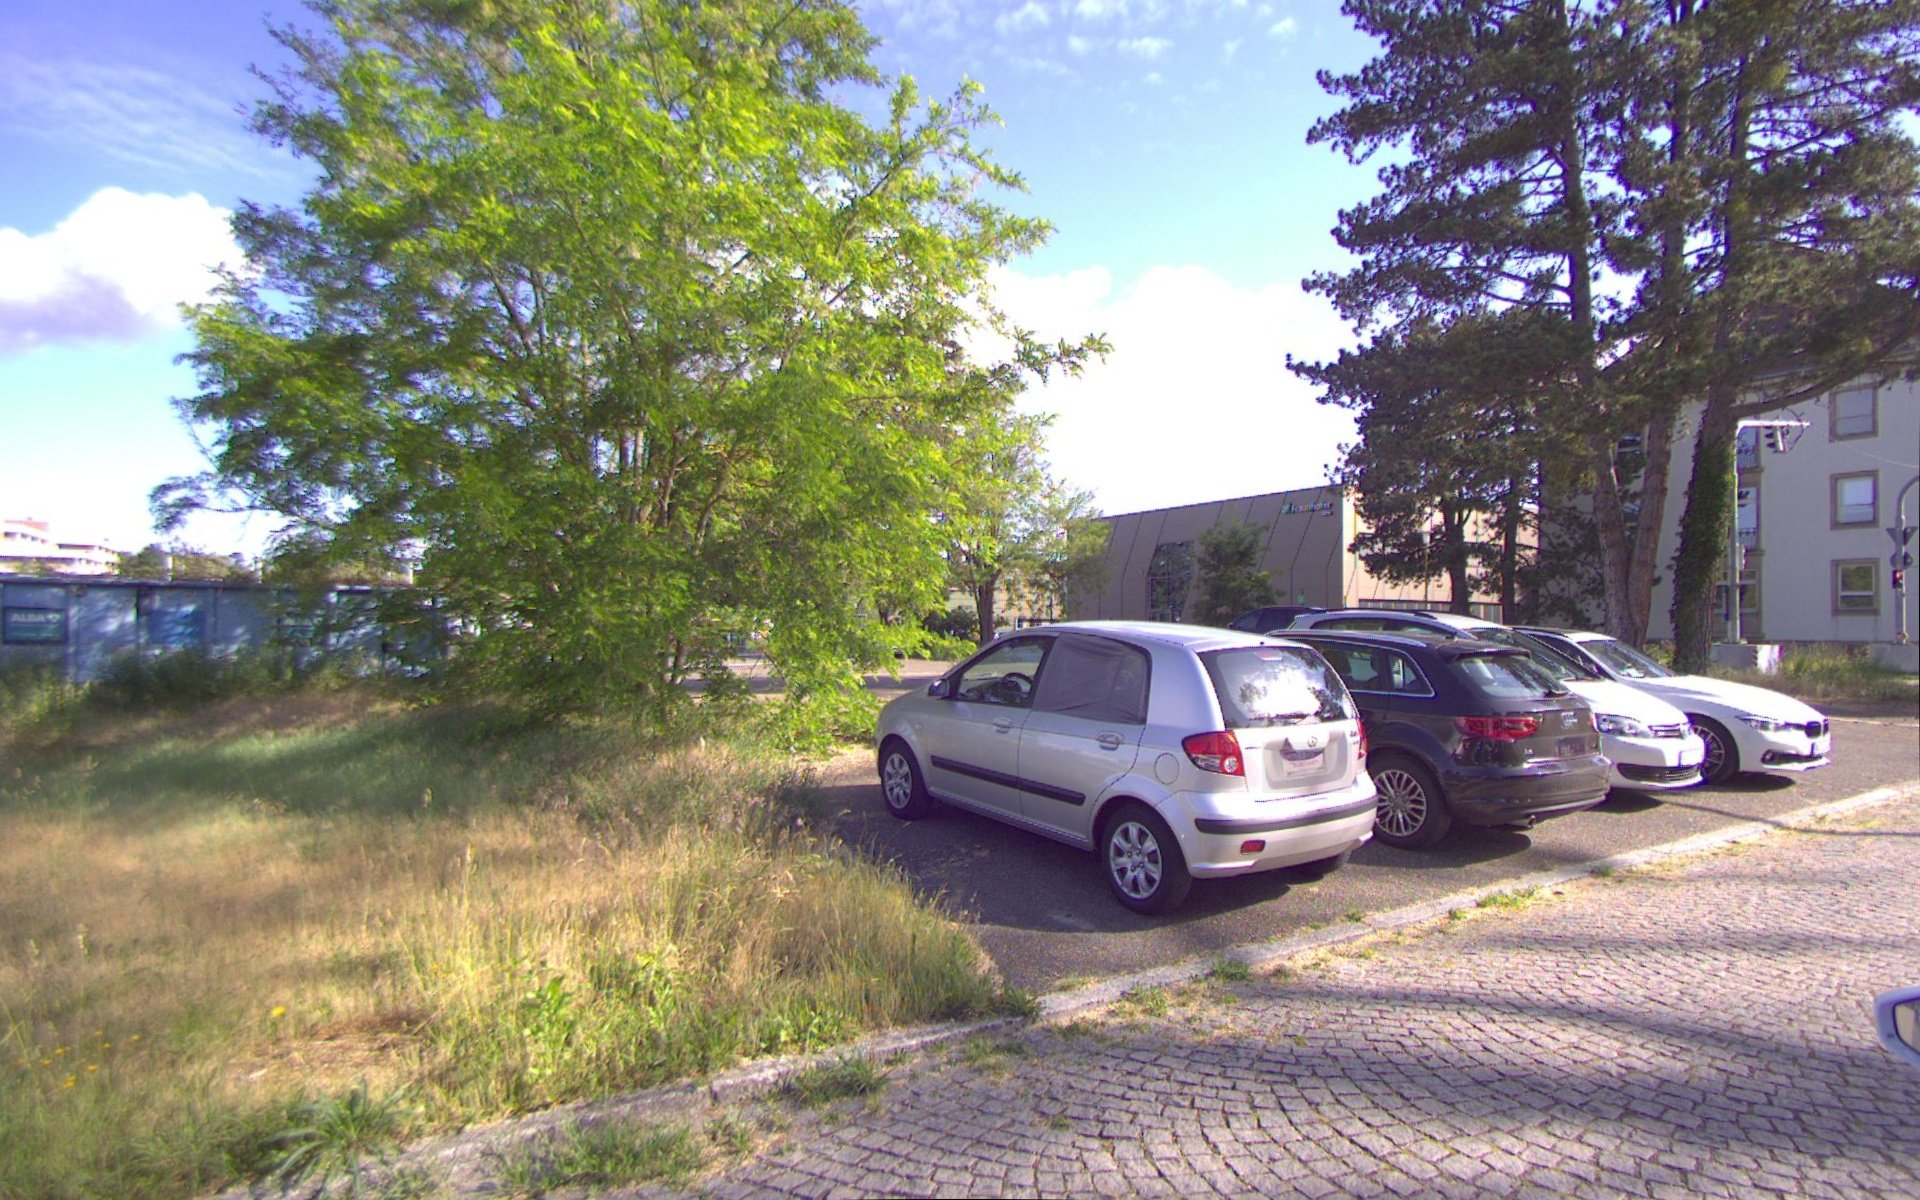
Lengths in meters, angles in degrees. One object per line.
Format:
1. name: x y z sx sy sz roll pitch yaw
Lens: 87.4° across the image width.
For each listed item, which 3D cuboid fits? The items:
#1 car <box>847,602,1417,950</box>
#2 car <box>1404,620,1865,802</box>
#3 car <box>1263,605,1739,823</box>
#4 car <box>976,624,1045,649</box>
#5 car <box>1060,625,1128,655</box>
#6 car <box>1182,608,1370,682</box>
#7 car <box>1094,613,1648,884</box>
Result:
1. car: 0.855 0.846 6.723 1.682 1.548 3.661 1 1 -34
2. car: 7.307 1.064 11.351 1.750 1.516 3.971 1 1 -27
3. car: 5.127 0.920 10.029 1.643 1.637 3.856 1 1 -33
4. car: 3.557 2.553 70.585 4.505 1.725 1.984 1 -2 -30
5. car: 8.402 2.498 62.768 3.955 1.802 1.856 1 -2 -30
6. car: 7.625 1.061 24.609 1.987 1.630 4.123 1 -2 -31
7. car: 3.028 0.936 8.211 1.673 1.464 3.913 1 2 -33
